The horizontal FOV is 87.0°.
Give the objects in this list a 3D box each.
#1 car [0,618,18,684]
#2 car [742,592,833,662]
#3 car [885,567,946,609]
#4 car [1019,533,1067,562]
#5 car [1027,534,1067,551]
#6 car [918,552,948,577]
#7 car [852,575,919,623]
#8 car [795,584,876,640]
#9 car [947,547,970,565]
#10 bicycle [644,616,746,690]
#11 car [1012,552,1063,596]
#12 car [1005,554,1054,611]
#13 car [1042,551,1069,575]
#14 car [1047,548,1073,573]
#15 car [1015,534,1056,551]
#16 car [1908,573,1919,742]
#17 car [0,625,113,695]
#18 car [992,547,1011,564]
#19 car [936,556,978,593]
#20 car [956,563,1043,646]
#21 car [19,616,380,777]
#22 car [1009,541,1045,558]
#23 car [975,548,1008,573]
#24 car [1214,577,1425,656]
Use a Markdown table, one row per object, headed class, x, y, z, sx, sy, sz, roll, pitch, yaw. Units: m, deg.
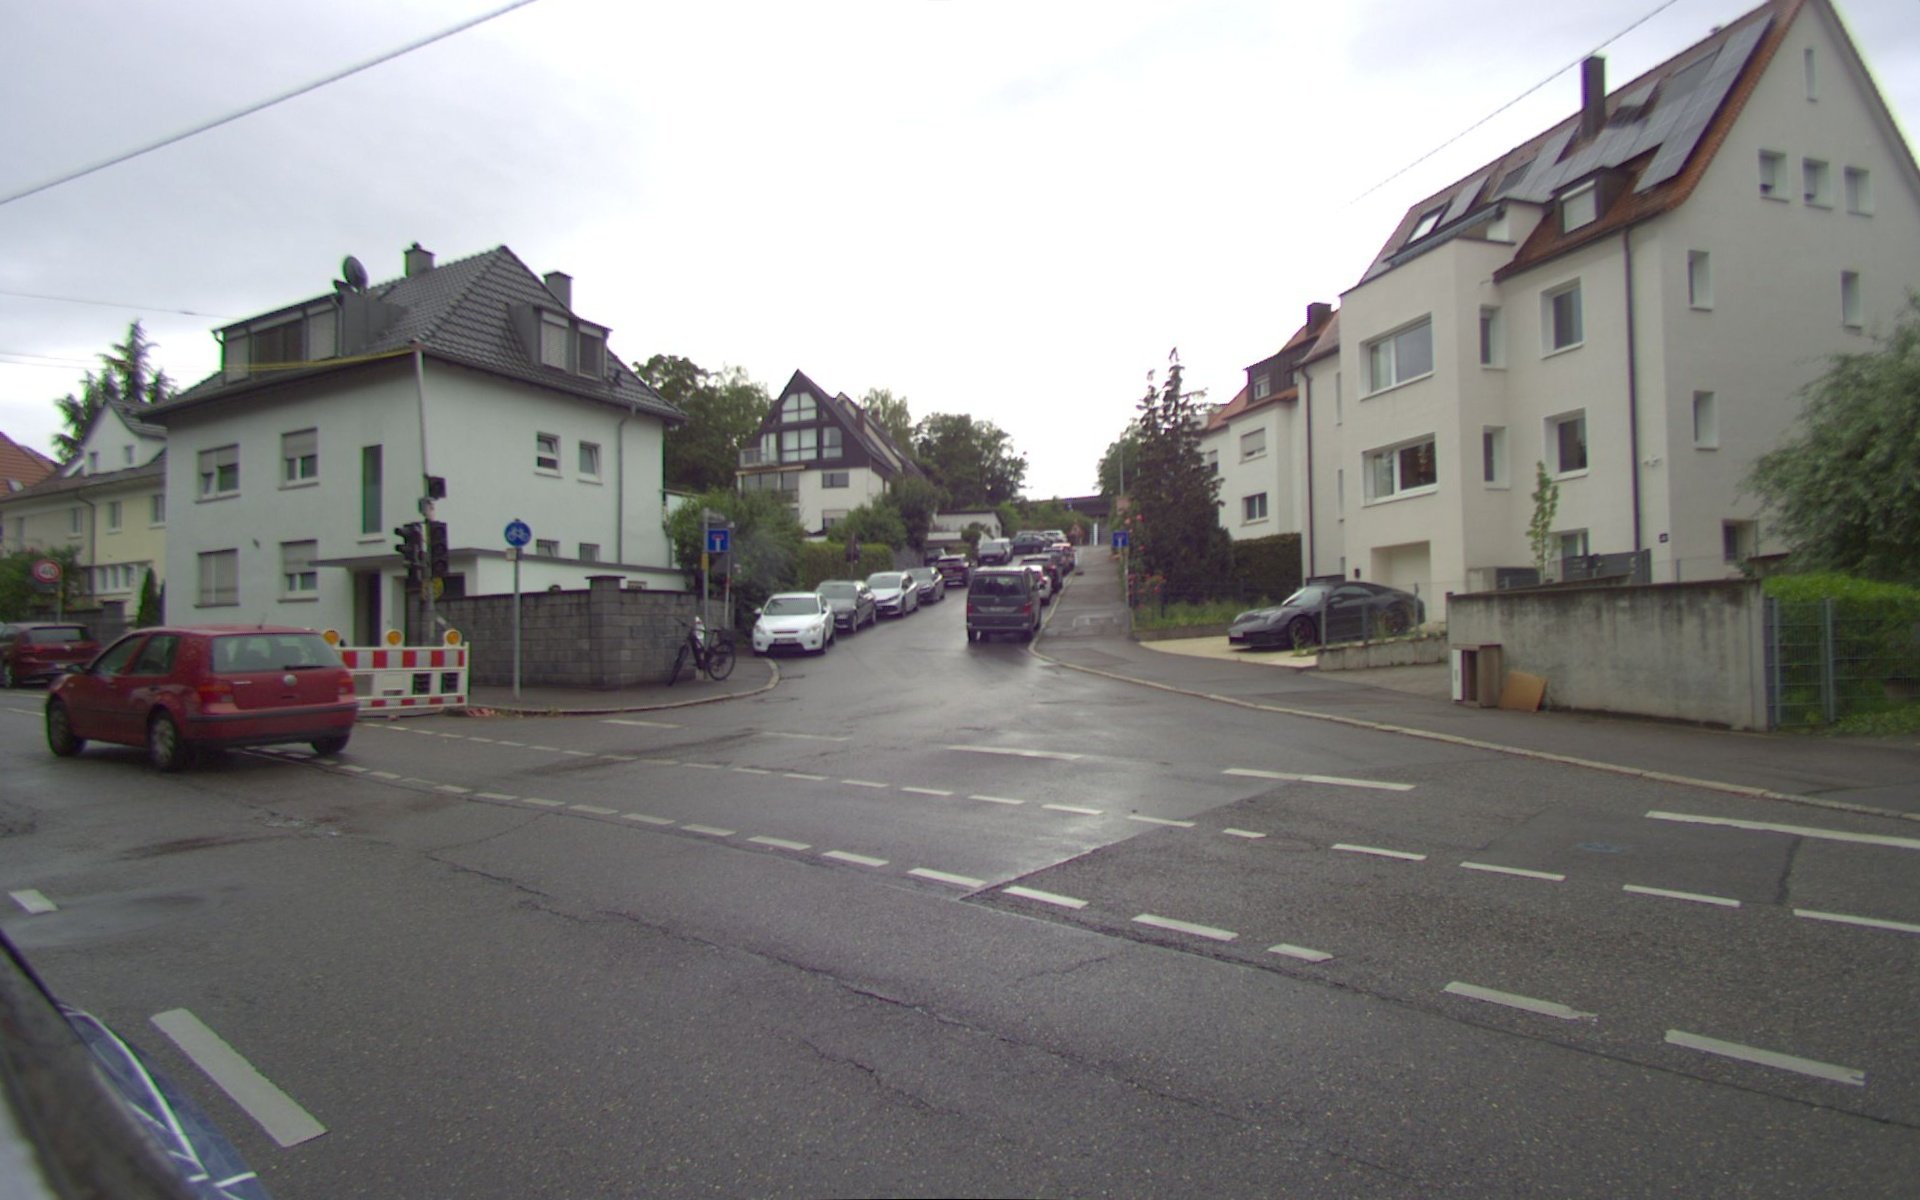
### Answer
| class | x | y | z | sx | sy | sz | roll | pitch | yaw |
| --- | --- | --- | --- | --- | --- | --- | --- | --- | --- |
| car | -26.159 | 1.319 | 25.767 | 4.131 | 1.653 | 1.782 | -1 | -1 | 25 |
| car | -4.360 | 0.627 | 26.149 | 1.827 | 1.473 | 4.124 | -1 | 3 | -3 |
| car | -1.812 | -0.548 | 42.952 | 1.903 | 1.448 | 4.100 | -1 | 5 | 7 |
| car | 7.198 | -4.549 | 87.636 | 3.954 | 2.028 | 1.995 | -5 | -1 | 8 |
| car | 8.935 | -5.884 | 103.908 | 3.782 | 1.529 | 1.664 | -1 | -1 | 15 |
| car | -1.832 | -2.409 | 69.786 | 1.793 | 1.566 | 4.009 | -1 | 0 | 3 |
| car | -2.663 | -0.080 | 37.080 | 1.738 | 1.481 | 3.940 | -1 | 4 | 6 |
| car | -3.833 | 0.323 | 31.811 | 1.702 | 1.397 | 3.900 | -1 | 4 | 6 |
| car | -0.087 | -3.248 | 74.014 | 1.559 | 1.220 | 3.650 | -1 | 3 | 2 |
| bicycle | -4.792 | 0.933 | 18.450 | 0.508 | 1.249 | 1.984 | 1 | 0 | 32 |
| car | 3.516 | -1.187 | 45.369 | 1.823 | 1.699 | 4.039 | -1 | 5 | 11 |
| car | 2.814 | -0.749 | 40.317 | 1.686 | 1.843 | 4.194 | -1 | 6 | 7 |
| car | 5.498 | -2.135 | 58.104 | 1.274 | 1.325 | 2.984 | -1 | 3 | 10 |
| car | 6.233 | -2.438 | 62.841 | 1.488 | 1.373 | 3.465 | -1 | 0 | 8 |
| car | 7.387 | -5.575 | 98.782 | 3.922 | 1.528 | 1.748 | -1 | 0 | 6 |
| car | 10.598 | 0.423 | 8.541 | 3.934 | 1.497 | 1.780 | -2 | -1 | -12 |
| car | -21.474 | 1.336 | 23.375 | 3.833 | 1.443 | 1.768 | -1 | -1 | 30 |
| car | 3.053 | -3.315 | 74.704 | 1.292 | 1.206 | 2.980 | -1 | 3 | 5 |
| car | -0.119 | -1.356 | 52.458 | 1.623 | 1.637 | 3.992 | -1 | 5 | 8 |
| car | 1.236 | 0.054 | 29.318 | 1.978 | 2.028 | 4.482 | -1 | 4 | 9 |
| car | -8.339 | 0.952 | 11.047 | 3.869 | 1.474 | 1.752 | -2 | -1 | 29 |
| car | 5.549 | -4.186 | 83.647 | 2.914 | 1.328 | 1.282 | -1 | 0 | 4 |
| car | 2.191 | -2.660 | 68.879 | 1.770 | 1.531 | 4.016 | -1 | 0 | 9 |
| car | 7.701 | 0.336 | 21.765 | 3.942 | 1.290 | 1.613 | -5 | 1 | -13 |
